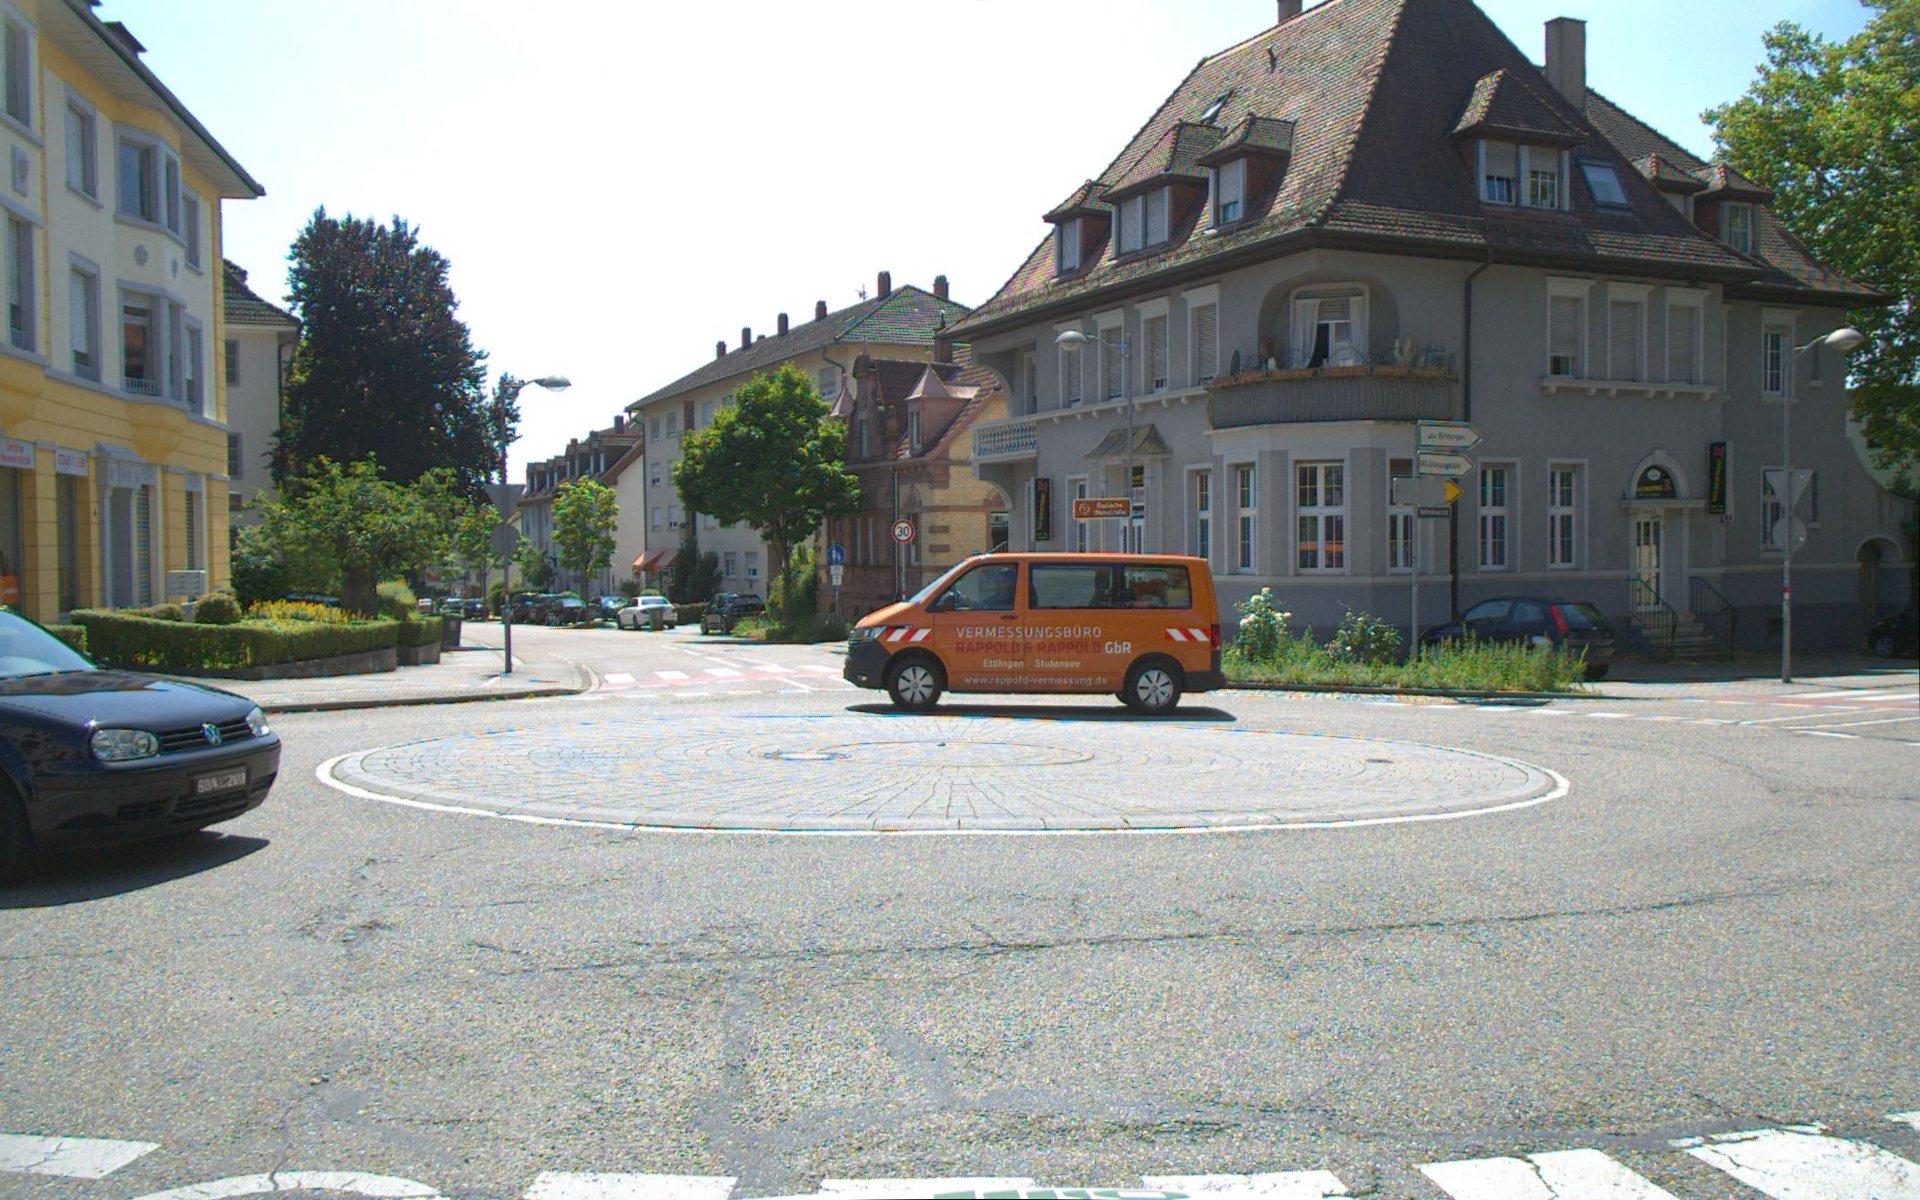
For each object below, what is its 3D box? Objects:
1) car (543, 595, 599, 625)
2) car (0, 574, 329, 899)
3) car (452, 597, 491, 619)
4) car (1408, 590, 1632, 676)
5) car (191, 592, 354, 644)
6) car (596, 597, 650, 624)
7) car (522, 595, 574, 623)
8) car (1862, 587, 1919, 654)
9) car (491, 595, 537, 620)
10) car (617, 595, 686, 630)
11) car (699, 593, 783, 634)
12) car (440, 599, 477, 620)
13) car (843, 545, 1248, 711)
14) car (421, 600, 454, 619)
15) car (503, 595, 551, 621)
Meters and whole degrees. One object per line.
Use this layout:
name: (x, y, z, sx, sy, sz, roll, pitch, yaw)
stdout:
car: (-20.915, 0.524, 88.821, 1.969, 1.535, 4.381, 0, 0, -26)
car: (-5.669, 0.650, 8.800, 3.958, 1.472, 1.718, -1, 2, 9)
car: (-34.687, 0.561, 117.386, 1.969, 1.535, 4.381, 0, 0, -26)
car: (10.265, 0.562, 30.549, 1.700, 1.486, 3.754, 0, 0, -30)
car: (-20.984, 0.525, 50.545, 4.363, 1.535, 1.977, 0, 0, -33)
car: (-19.104, 0.577, 93.728, 1.969, 1.535, 4.381, 0, 0, -26)
car: (-23.509, 0.498, 94.305, 1.969, 1.535, 4.381, 0, 0, -26)
car: (23.377, 0.486, 38.979, 1.701, 1.573, 3.358, 0, 0, -30)
car: (-27.864, 0.458, 103.172, 1.969, 1.535, 4.381, 0, 0, -26)
car: (-14.068, 0.538, 75.256, 1.969, 1.535, 4.381, 0, 0, -26)
car: (-8.586, 0.504, 64.644, 1.969, 1.535, 4.381, 0, 0, -26)
car: (-37.211, 0.704, 122.616, 1.969, 1.535, 4.381, 0, 0, -26)
car: (1.014, 0.323, 20.992, 4.903, 1.993, 1.950, 0, 1, -2)
car: (-41.967, 0.763, 132.715, 1.969, 1.514, 3.967, 1, 0, -26)
car: (-25.930, 0.475, 99.017, 1.969, 1.535, 4.381, 0, 0, -26)
